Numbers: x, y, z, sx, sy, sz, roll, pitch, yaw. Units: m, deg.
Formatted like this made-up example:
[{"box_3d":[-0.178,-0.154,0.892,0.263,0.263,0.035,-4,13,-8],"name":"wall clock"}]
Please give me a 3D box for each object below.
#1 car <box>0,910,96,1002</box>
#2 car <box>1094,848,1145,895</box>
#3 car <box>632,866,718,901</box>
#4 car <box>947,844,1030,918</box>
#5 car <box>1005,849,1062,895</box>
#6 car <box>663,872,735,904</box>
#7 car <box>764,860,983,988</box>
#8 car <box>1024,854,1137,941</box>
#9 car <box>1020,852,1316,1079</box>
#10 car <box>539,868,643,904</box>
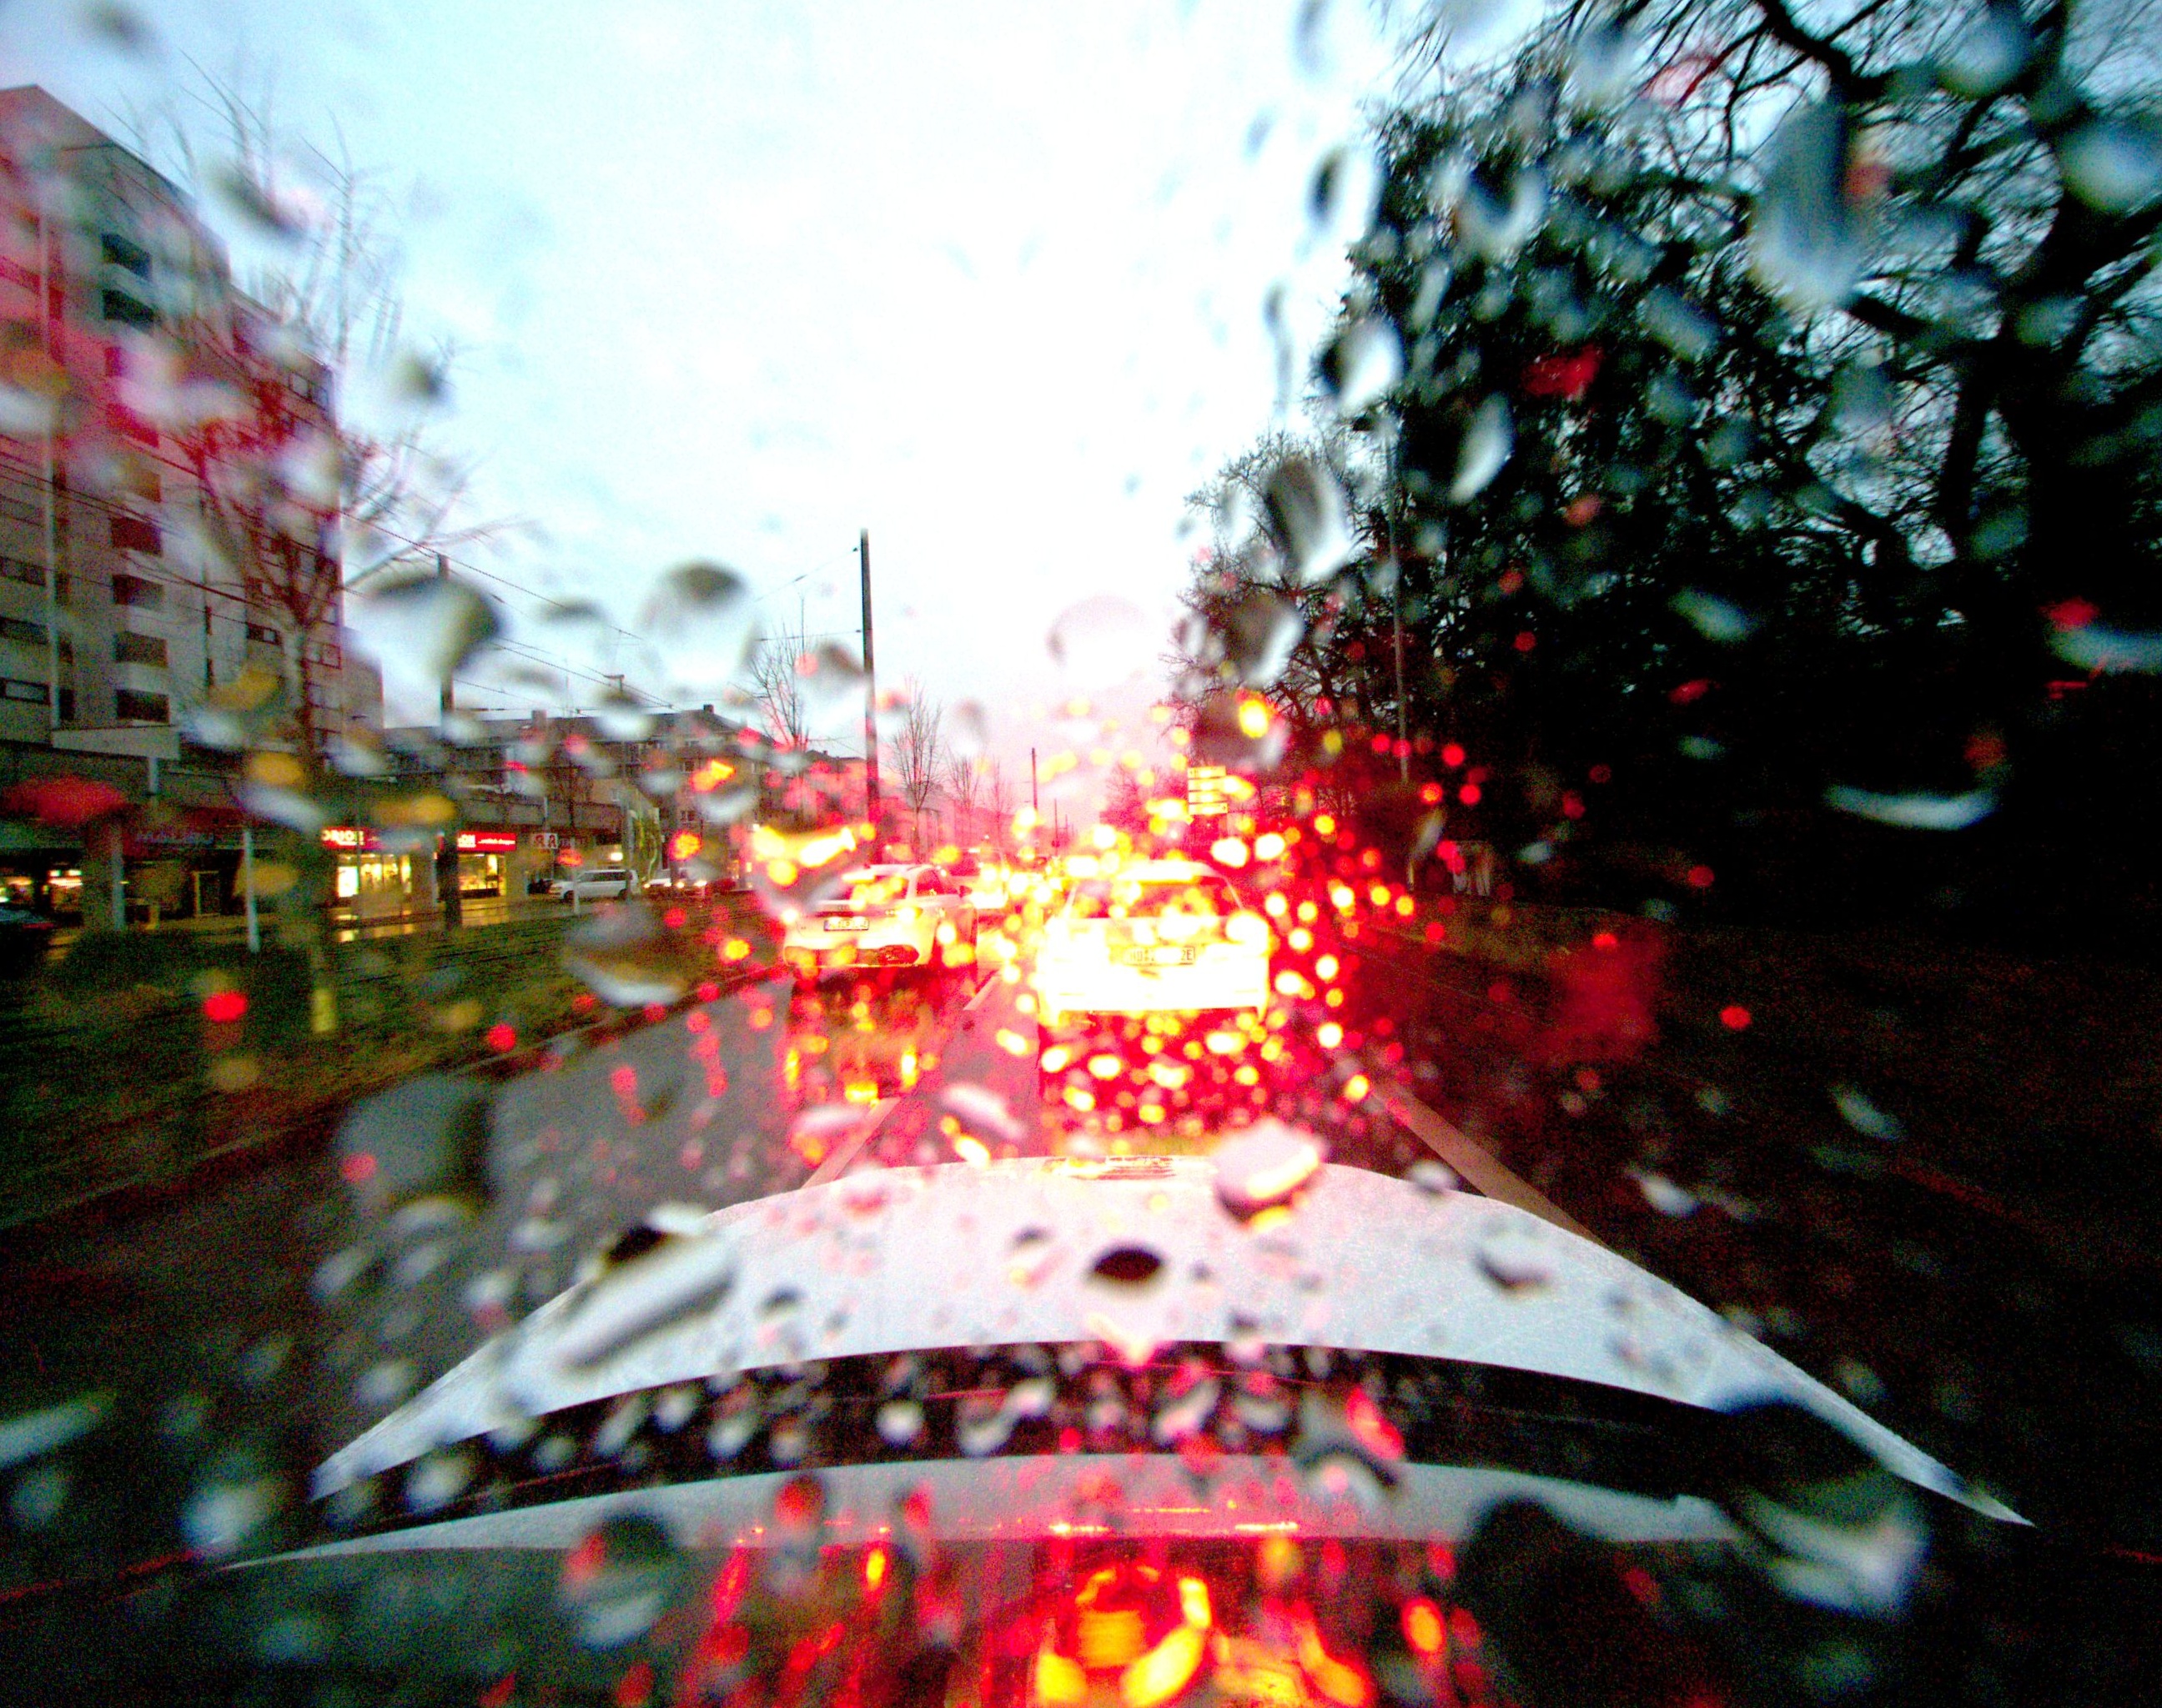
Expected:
[{"box_3d":[-22.506,2.121,15.293,1.888,1.719,4.919,-2,0,2],"name":"car"},{"box_3d":[1.458,0.619,31.135,1.800,1.646,4.002,-1,0,2],"name":"car"},{"box_3d":[-26.245,1.872,52.860,1.979,1.912,5.184,-3,0,14],"name":"car"},{"box_3d":[-2.341,0.663,21.695,1.788,1.736,4.534,-1,0,-2],"name":"car"},{"box_3d":[-1.787,0.670,31.767,1.800,1.646,4.002,-1,0,2],"name":"car"},{"box_3d":[-22.423,1.975,48.009,1.889,1.634,4.582,-2,0,1],"name":"car"},{"box_3d":[-2.634,0.811,11.540,1.840,1.405,4.614,-1,0,1],"name":"car"},{"box_3d":[0.053,0.749,16.248,1.928,1.457,4.165,-1,0,2],"name":"car"},{"box_3d":[0.662,0.761,7.672,1.992,1.508,4.165,-1,0,2],"name":"car"},{"box_3d":[-30.666,1.979,51.068,5.193,1.912,1.975,-3,0,-44],"name":"car"}]
